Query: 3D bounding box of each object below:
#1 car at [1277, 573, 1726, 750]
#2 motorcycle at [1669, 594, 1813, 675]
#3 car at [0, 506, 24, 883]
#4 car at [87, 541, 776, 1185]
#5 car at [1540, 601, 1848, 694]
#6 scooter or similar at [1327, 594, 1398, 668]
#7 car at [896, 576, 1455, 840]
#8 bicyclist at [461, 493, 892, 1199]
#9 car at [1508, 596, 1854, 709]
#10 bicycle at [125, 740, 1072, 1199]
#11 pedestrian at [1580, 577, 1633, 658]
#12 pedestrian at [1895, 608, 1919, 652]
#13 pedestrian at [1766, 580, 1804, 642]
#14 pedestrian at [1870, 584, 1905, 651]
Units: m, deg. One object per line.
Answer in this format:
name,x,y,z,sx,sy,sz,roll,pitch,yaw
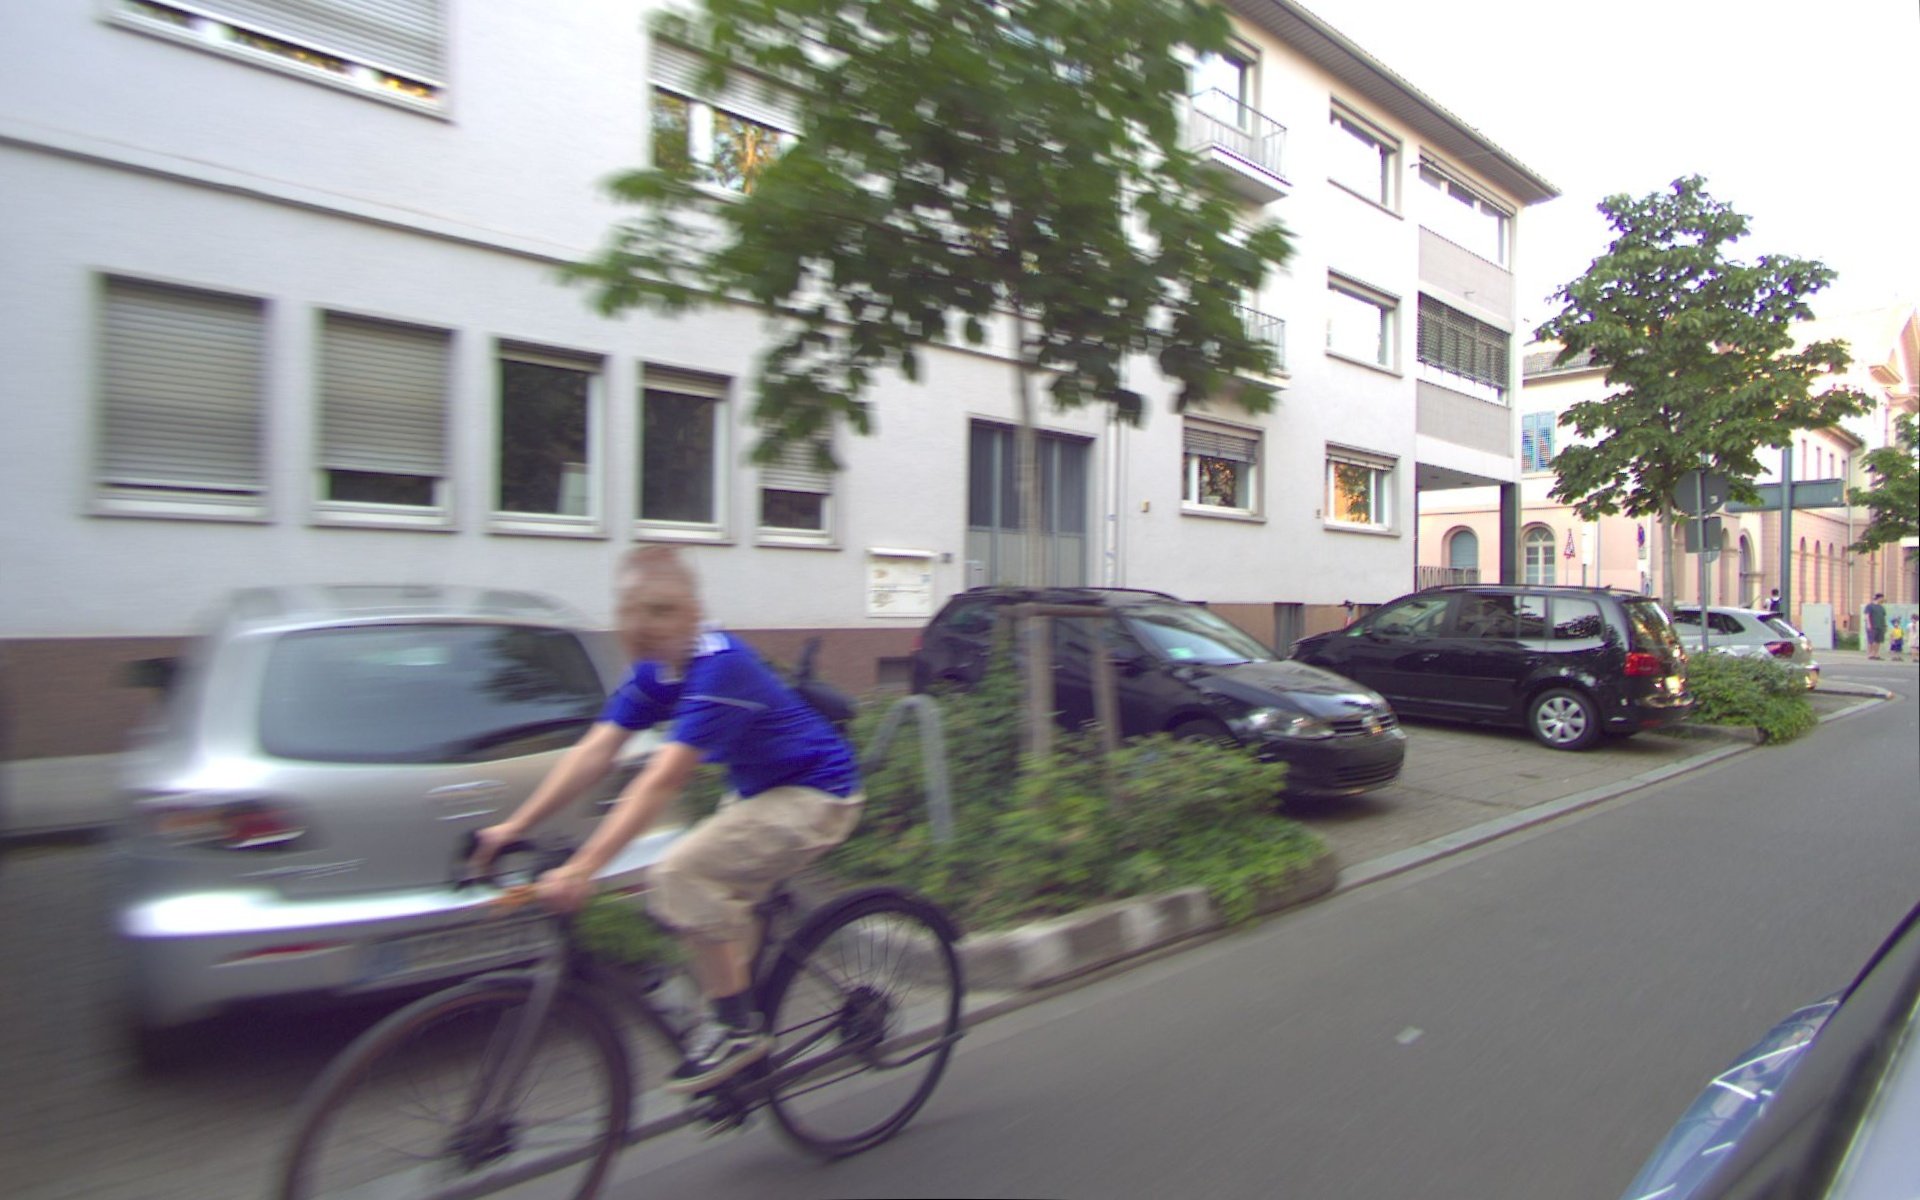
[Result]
car,5.979,0.539,11.586,1.925,1.638,4.120,0,1,-38
motorcycle,14.756,0.610,19.175,0.979,1.410,1.917,0,1,-26
car,-4.245,0.478,3.008,1.910,1.597,4.602,0,4,-40
car,-2.587,0.541,4.589,1.784,1.446,4.088,0,4,-37
car,12.584,0.733,17.580,1.760,1.349,3.999,1,1,-36
scooter or similar,7.021,0.527,17.621,1.392,1.255,0.347,1,0,-30
car,1.465,0.605,8.310,1.762,1.514,4.325,0,2,-40
bicyclist,-0.665,0.499,2.360,0.762,1.381,0.673,1,-2,-39
car,10.870,0.689,15.505,1.761,1.455,3.997,0,1,-38
bicycle,-0.666,0.960,2.339,1.941,1.043,0.673,0,-2,-39
pedestrian,14.868,0.388,23.271,1.046,1.818,0.699,1,0,-39
pedestrian,25.984,0.819,27.549,0.535,1.159,0.493,2,1,-2
pedestrian,25.514,0.334,31.288,1.031,1.878,0.698,1,1,-41
pedestrian,25.368,0.474,27.674,0.565,1.796,0.545,1,2,-38
